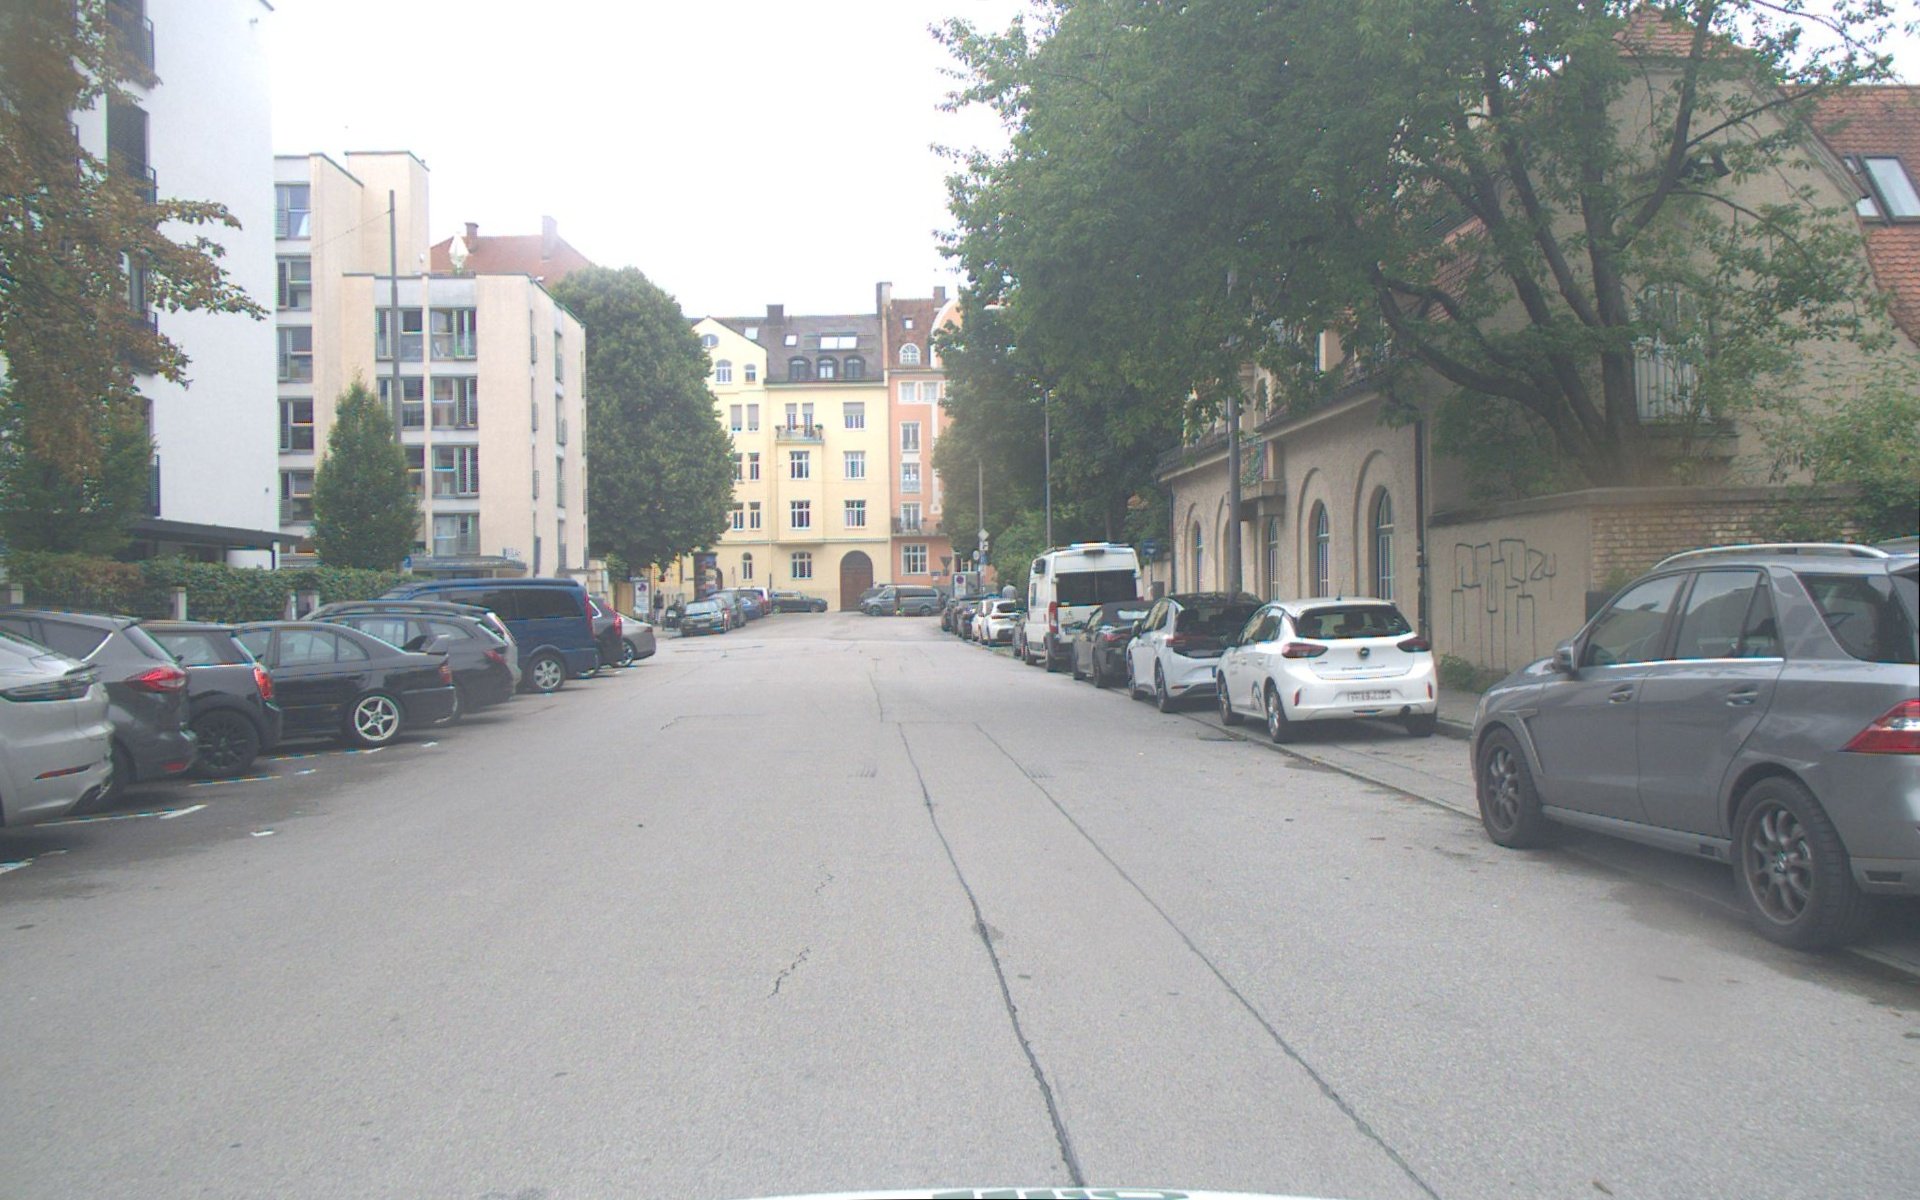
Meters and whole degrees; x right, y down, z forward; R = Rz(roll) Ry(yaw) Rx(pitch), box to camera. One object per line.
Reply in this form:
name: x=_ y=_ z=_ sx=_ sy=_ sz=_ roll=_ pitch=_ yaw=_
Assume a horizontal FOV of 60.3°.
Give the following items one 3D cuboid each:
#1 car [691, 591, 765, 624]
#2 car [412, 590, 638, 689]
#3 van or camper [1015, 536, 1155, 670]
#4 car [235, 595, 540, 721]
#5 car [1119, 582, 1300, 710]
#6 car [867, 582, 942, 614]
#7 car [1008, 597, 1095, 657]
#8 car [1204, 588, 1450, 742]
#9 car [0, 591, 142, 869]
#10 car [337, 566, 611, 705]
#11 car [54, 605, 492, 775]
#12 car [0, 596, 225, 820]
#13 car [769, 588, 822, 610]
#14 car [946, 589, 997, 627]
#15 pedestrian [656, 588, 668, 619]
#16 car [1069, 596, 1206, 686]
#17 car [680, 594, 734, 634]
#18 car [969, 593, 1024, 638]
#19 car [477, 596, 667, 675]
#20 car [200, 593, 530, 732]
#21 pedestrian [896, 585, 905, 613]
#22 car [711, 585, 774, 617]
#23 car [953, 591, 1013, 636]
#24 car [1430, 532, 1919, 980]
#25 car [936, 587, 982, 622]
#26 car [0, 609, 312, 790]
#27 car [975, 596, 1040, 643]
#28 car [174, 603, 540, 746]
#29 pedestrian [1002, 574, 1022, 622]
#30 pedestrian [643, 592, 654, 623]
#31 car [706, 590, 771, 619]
car: x=-13.078 y=0.410 z=93.381 sx=3.909 sy=1.534 sz=1.839 roll=-4 pitch=0 yaw=-4
car: x=-8.821 y=0.766 z=33.635 sx=4.070 sy=1.738 sz=1.717 roll=-3 pitch=1 yaw=-34
van or camper: x=2.610 y=0.042 z=36.167 sx=2.149 sy=2.594 sz=5.723 roll=-3 pitch=0 yaw=-4
car: x=-8.857 y=0.843 z=25.687 sx=4.165 sy=1.637 sz=1.718 roll=-3 pitch=1 yaw=-33
car: x=3.439 y=0.583 z=23.544 sx=1.673 sy=1.564 sz=4.238 roll=-3 pitch=0 yaw=-3
car: x=-3.498 y=-0.120 z=104.014 sx=4.612 sy=1.913 sz=1.838 roll=-1 pitch=0 yaw=-5
car: x=2.303 y=0.653 z=42.563 sx=1.674 sy=1.393 sz=4.126 roll=-2 pitch=0 yaw=-4
car: x=3.946 y=0.649 z=18.429 sx=1.652 sy=1.466 sz=3.998 roll=-2 pitch=0 yaw=-3
car: x=-7.542 y=0.840 z=10.218 sx=4.342 sy=1.649 sz=2.070 roll=-2 pitch=0 yaw=-25
car: x=-8.345 y=0.556 z=28.513 sx=4.165 sy=2.102 sz=1.718 roll=-3 pitch=1 yaw=-33
car: x=-7.485 y=0.904 z=18.168 sx=4.168 sy=1.487 sz=1.717 roll=-3 pitch=1 yaw=-34
car: x=-8.051 y=0.846 z=12.871 sx=4.155 sy=1.626 sz=1.869 roll=-2 pitch=0 yaw=-28
car: x=-12.519 y=-0.095 z=125.973 sx=3.907 sy=1.614 sz=1.702 roll=-1 pitch=0 yaw=-2
car: x=0.454 y=0.301 z=69.105 sx=1.638 sy=1.367 sz=3.833 roll=-2 pitch=2 yaw=-6
pedestrian: x=-16.475 y=0.179 z=91.368 sx=0.559 sy=1.686 sz=0.464 roll=-1 pitch=0 yaw=-3
car: x=3.059 y=0.666 z=29.322 sx=1.673 sy=1.393 sz=4.438 roll=-2 pitch=0 yaw=-3
car: x=-10.882 y=0.585 z=71.345 sx=1.798 sy=1.534 sz=3.998 roll=-4 pitch=0 yaw=-3
car: x=1.272 y=0.538 z=59.416 sx=1.673 sy=1.491 sz=3.835 roll=-2 pitch=0 yaw=-3
car: x=-9.315 y=0.834 z=39.832 sx=4.073 sy=1.637 sz=1.715 roll=-3 pitch=1 yaw=-36
car: x=-8.418 y=0.825 z=23.474 sx=4.158 sy=1.637 sz=1.721 roll=-3 pitch=1 yaw=-29
pedestrian: x=-3.581 y=-0.061 z=100.007 sx=0.454 sy=1.686 sz=0.572 roll=-1 pitch=0 yaw=-9
car: x=-14.480 y=0.033 z=110.066 sx=3.909 sy=1.830 sz=1.839 roll=-4 pitch=0 yaw=-4
car: x=0.837 y=0.503 z=63.687 sx=1.769 sy=1.491 sz=3.832 roll=-2 pitch=2 yaw=-7
car: x=4.427 y=0.547 z=8.854 sx=1.955 sy=1.741 sz=4.878 roll=-3 pitch=1 yaw=-6
car: x=-0.073 y=0.185 z=74.000 sx=1.638 sy=1.367 sz=3.833 roll=-2 pitch=2 yaw=-6
car: x=-8.286 y=0.894 z=15.233 sx=4.155 sy=1.487 sz=1.777 roll=-2 pitch=0 yaw=-28
car: x=1.518 y=0.611 z=54.483 sx=1.674 sy=1.432 sz=4.126 roll=-2 pitch=0 yaw=-4
car: x=-7.594 y=0.878 z=20.945 sx=4.151 sy=1.487 sz=1.724 roll=-3 pitch=1 yaw=-25
pedestrian: x=2.251 y=-0.078 z=71.474 sx=0.757 sy=2.049 sz=0.562 roll=-1 pitch=0 yaw=-4
pedestrian: x=-17.187 y=0.423 z=91.253 sx=0.559 sy=1.686 sz=0.464 roll=-1 pitch=0 yaw=-3
car: x=-14.090 y=0.302 z=105.295 sx=3.909 sy=1.534 sz=1.839 roll=-4 pitch=0 yaw=-4
